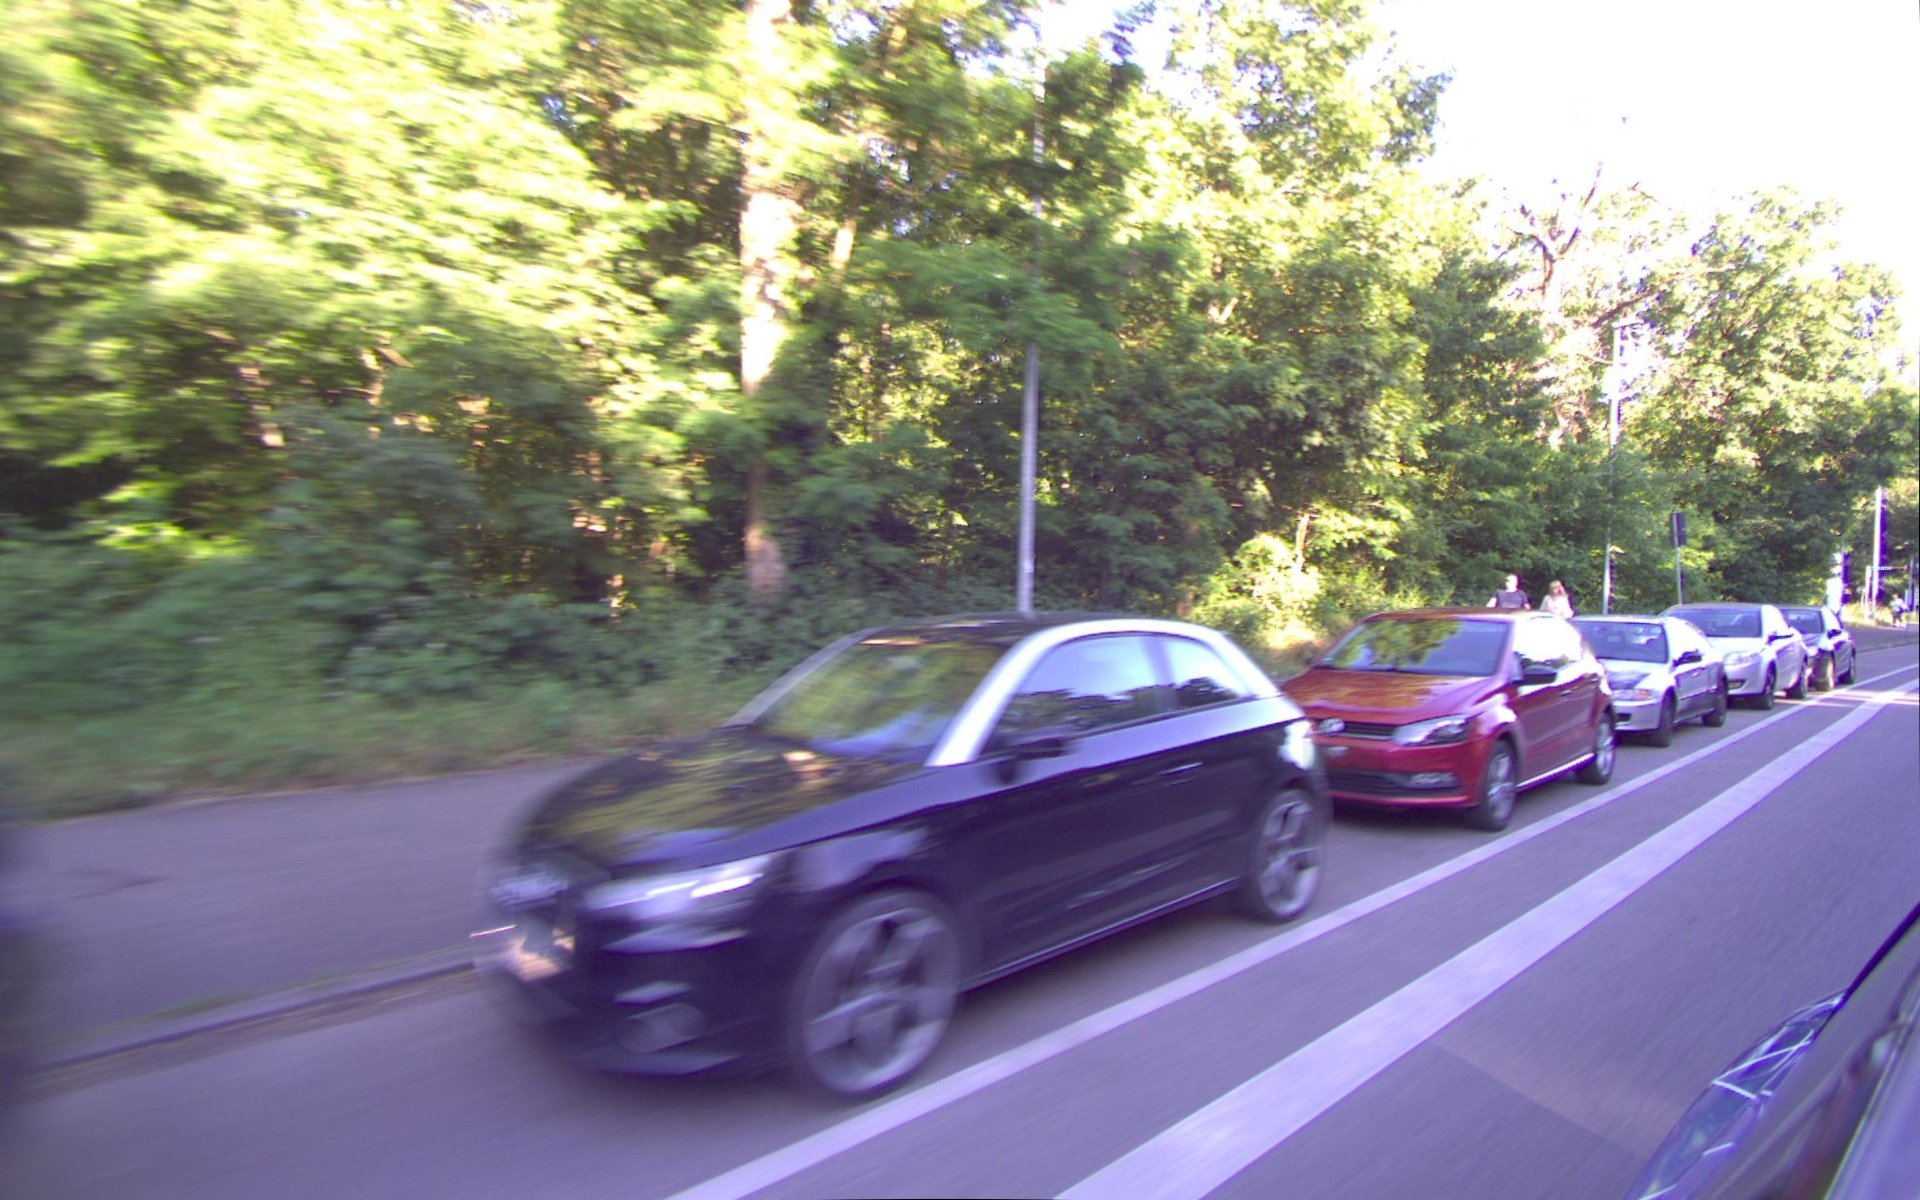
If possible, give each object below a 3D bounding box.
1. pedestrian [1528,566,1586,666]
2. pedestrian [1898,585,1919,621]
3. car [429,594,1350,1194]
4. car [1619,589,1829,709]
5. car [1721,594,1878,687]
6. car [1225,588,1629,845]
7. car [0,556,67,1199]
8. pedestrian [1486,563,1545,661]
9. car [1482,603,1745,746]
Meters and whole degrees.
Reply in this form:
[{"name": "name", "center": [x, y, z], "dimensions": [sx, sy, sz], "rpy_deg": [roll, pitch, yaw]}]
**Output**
[{"name": "pedestrian", "center": [11.296, 0.285, 19.141], "dimensions": [0.777, 1.821, 0.675], "rpy_deg": [0, 3, -44]}, {"name": "pedestrian", "center": [47.990, 0.140, 51.115], "dimensions": [0.721, 1.822, 0.809], "rpy_deg": [0, 1, -39]}, {"name": "car", "center": [0.008, 0.690, 4.282], "dimensions": [3.734, 1.419, 1.596], "rpy_deg": [0, 0, -43]}, {"name": "car", "center": [11.669, 0.630, 15.359], "dimensions": [4.284, 1.544, 1.740], "rpy_deg": [0, 2, -42]}, {"name": "car", "center": [15.385, 0.647, 18.473], "dimensions": [3.951, 1.470, 1.659], "rpy_deg": [0, 2, -42]}, {"name": "car", "center": [3.717, 0.673, 7.756], "dimensions": [3.663, 1.487, 1.617], "rpy_deg": [0, -1, -45]}, {"name": "car", "center": [-3.864, 0.714, 1.001], "dimensions": [4.425, 1.538, 1.810], "rpy_deg": [0, -1, -41]}, {"name": "pedestrian", "center": [10.742, 0.218, 19.557], "dimensions": [0.937, 1.821, 0.675], "rpy_deg": [0, 3, -44]}, {"name": "car", "center": [7.588, 0.723, 11.626], "dimensions": [3.775, 1.336, 1.630], "rpy_deg": [0, 0, -42]}]
